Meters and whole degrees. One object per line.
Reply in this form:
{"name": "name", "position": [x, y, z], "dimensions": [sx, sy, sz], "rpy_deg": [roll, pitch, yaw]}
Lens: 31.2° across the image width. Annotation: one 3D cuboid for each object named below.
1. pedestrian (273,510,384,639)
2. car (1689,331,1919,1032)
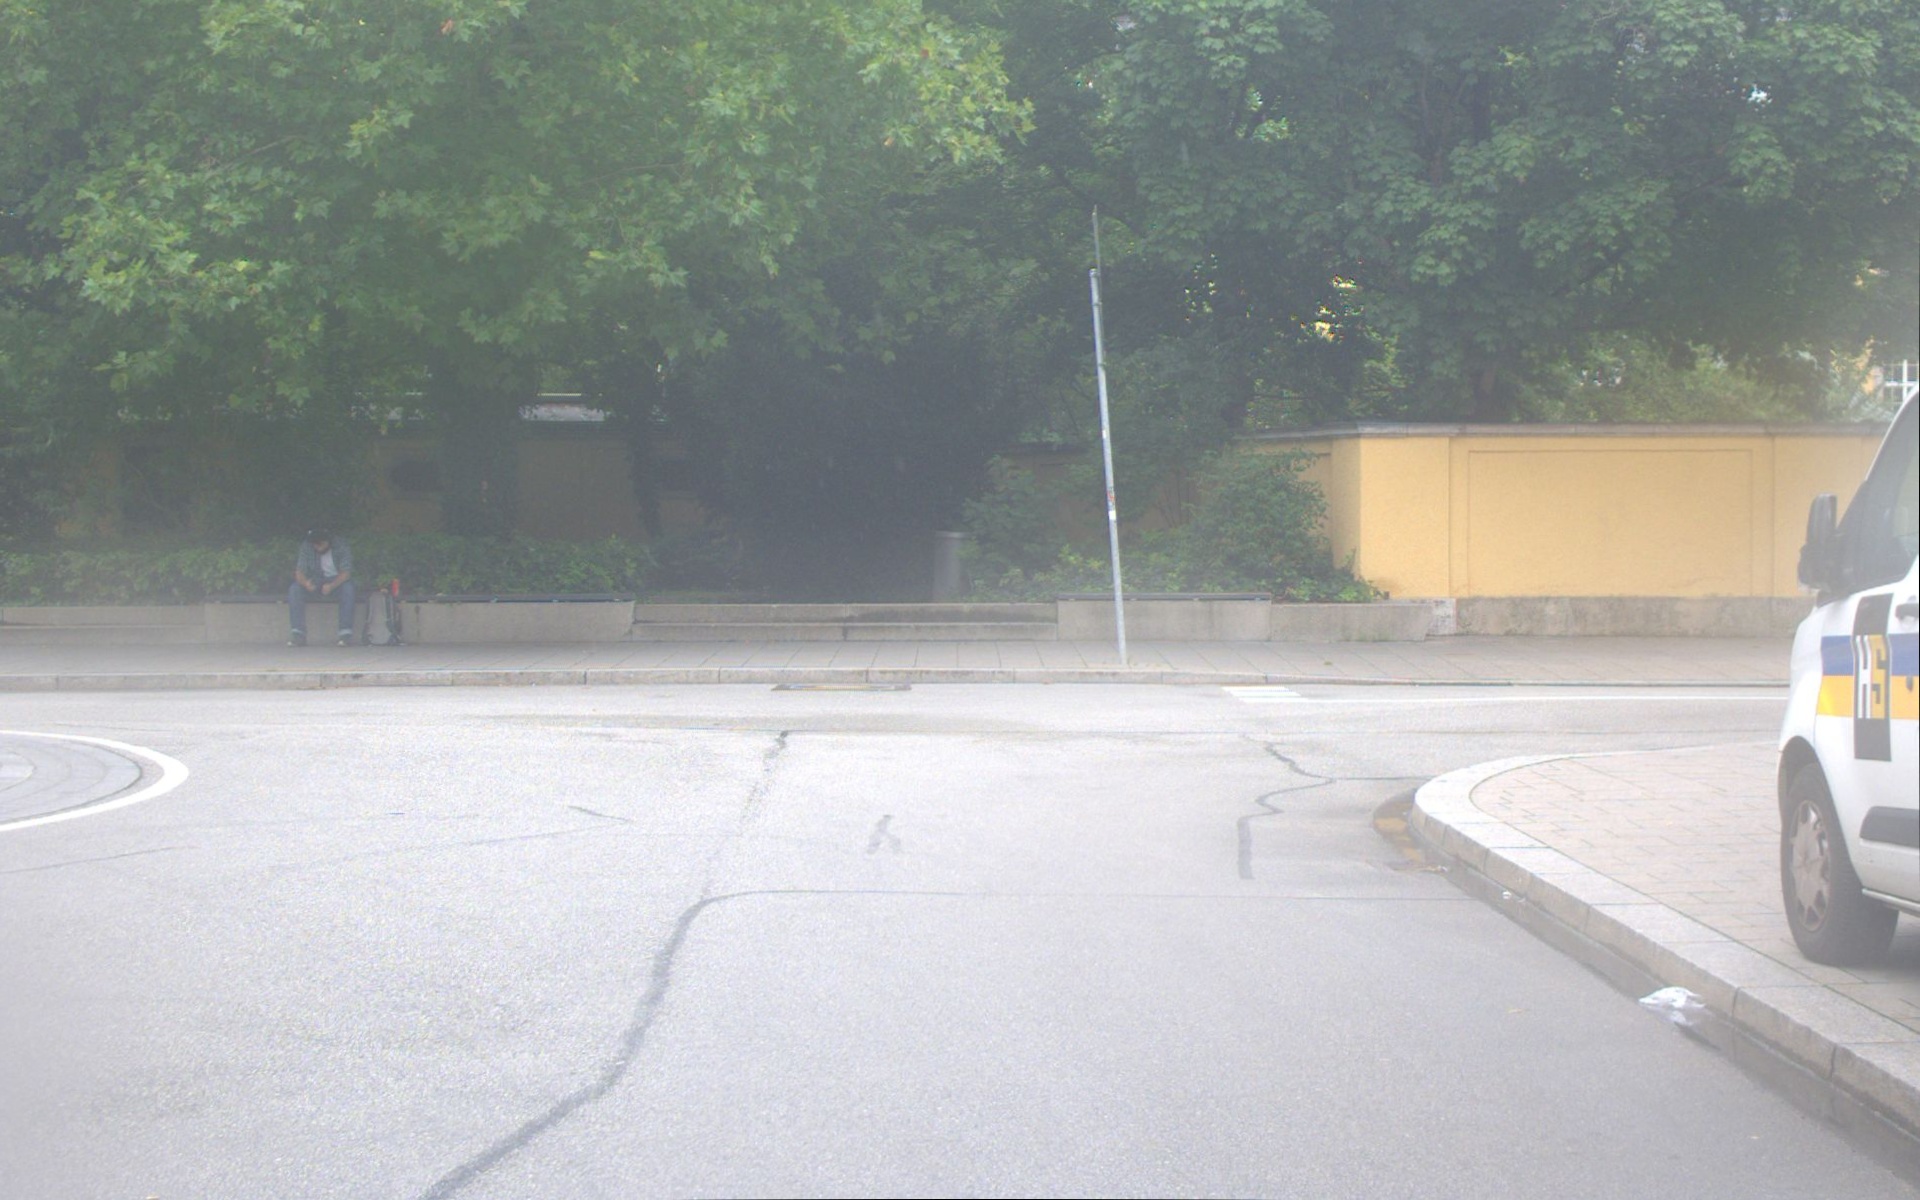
{"name": "pedestrian", "position": [-5.880, -0.247, 32.052], "dimensions": [0.812, 1.185, 0.919], "rpy_deg": [0, 2, 4]}
{"name": "car", "position": [3.631, 0.216, 9.477], "dimensions": [1.915, 1.955, 4.928], "rpy_deg": [-1, 2, -3]}
